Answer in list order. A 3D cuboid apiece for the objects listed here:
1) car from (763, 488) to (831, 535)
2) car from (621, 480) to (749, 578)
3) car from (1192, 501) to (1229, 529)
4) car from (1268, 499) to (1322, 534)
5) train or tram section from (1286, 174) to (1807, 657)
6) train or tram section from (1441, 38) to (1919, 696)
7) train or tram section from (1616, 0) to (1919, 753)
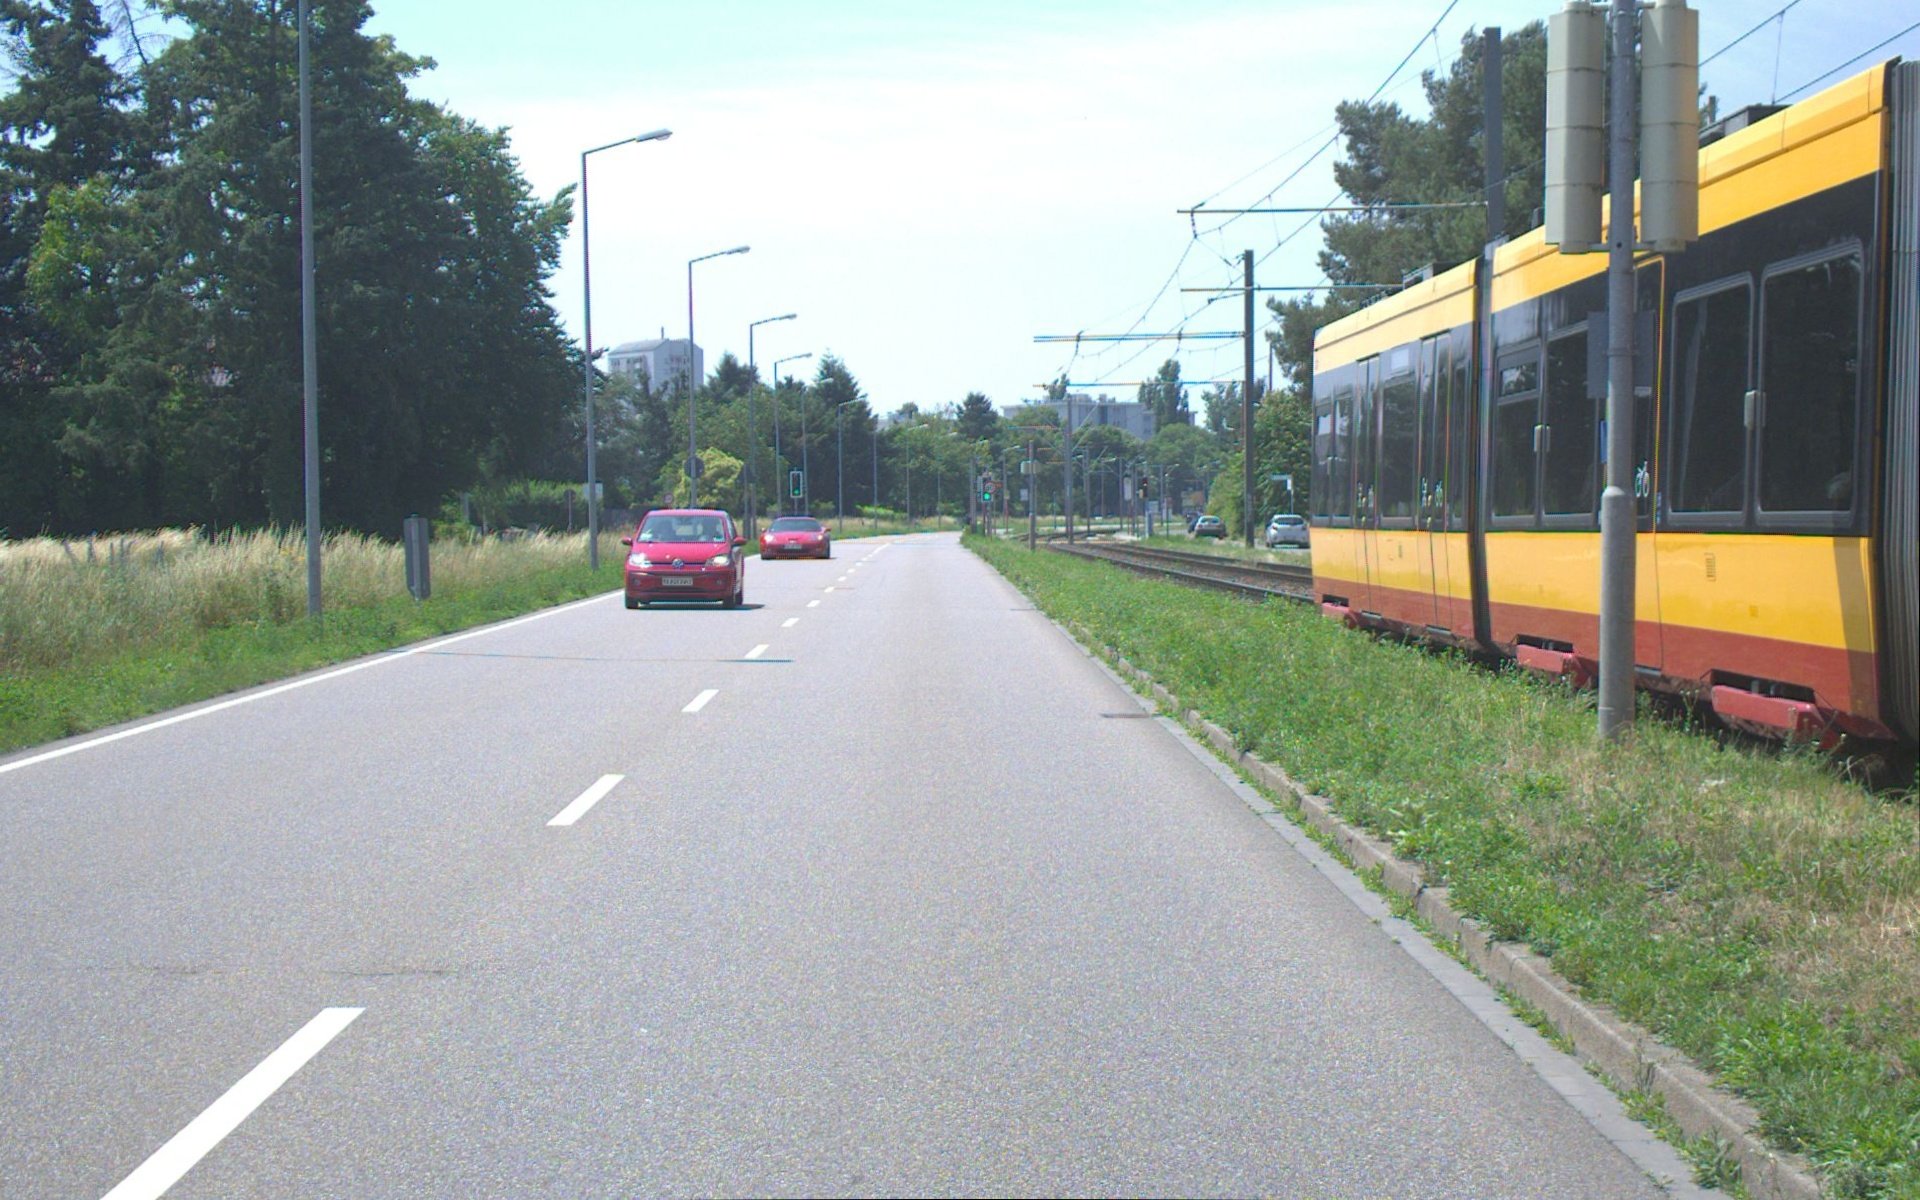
[{"bbox_3d":[-4.704,-2.542,99.557,1.807,1.281,4.286,-1,1,-1],"label":"car"},{"bbox_3d":[-4.089,-1.051,51.601,1.645,1.395,3.845,-1,1,-1],"label":"car"},{"bbox_3d":[15.353,-5.181,210.726,1.915,1.656,4.000,-1,1,0],"label":"car"},{"bbox_3d":[15.103,-3.768,155.104,1.993,1.503,4.000,-1,1,0],"label":"car"},{"bbox_3d":[5.056,-1.498,32.099,2.765,3.677,11.187,-1,1,-1],"label":"train or tram section"},{"bbox_3d":[5.121,-1.395,23.127,2.701,3.753,6.730,-1,1,-1],"label":"train or tram section"},{"bbox_3d":[5.117,-1.284,16.402,2.560,3.701,6.730,-1,1,-1],"label":"train or tram section"}]
